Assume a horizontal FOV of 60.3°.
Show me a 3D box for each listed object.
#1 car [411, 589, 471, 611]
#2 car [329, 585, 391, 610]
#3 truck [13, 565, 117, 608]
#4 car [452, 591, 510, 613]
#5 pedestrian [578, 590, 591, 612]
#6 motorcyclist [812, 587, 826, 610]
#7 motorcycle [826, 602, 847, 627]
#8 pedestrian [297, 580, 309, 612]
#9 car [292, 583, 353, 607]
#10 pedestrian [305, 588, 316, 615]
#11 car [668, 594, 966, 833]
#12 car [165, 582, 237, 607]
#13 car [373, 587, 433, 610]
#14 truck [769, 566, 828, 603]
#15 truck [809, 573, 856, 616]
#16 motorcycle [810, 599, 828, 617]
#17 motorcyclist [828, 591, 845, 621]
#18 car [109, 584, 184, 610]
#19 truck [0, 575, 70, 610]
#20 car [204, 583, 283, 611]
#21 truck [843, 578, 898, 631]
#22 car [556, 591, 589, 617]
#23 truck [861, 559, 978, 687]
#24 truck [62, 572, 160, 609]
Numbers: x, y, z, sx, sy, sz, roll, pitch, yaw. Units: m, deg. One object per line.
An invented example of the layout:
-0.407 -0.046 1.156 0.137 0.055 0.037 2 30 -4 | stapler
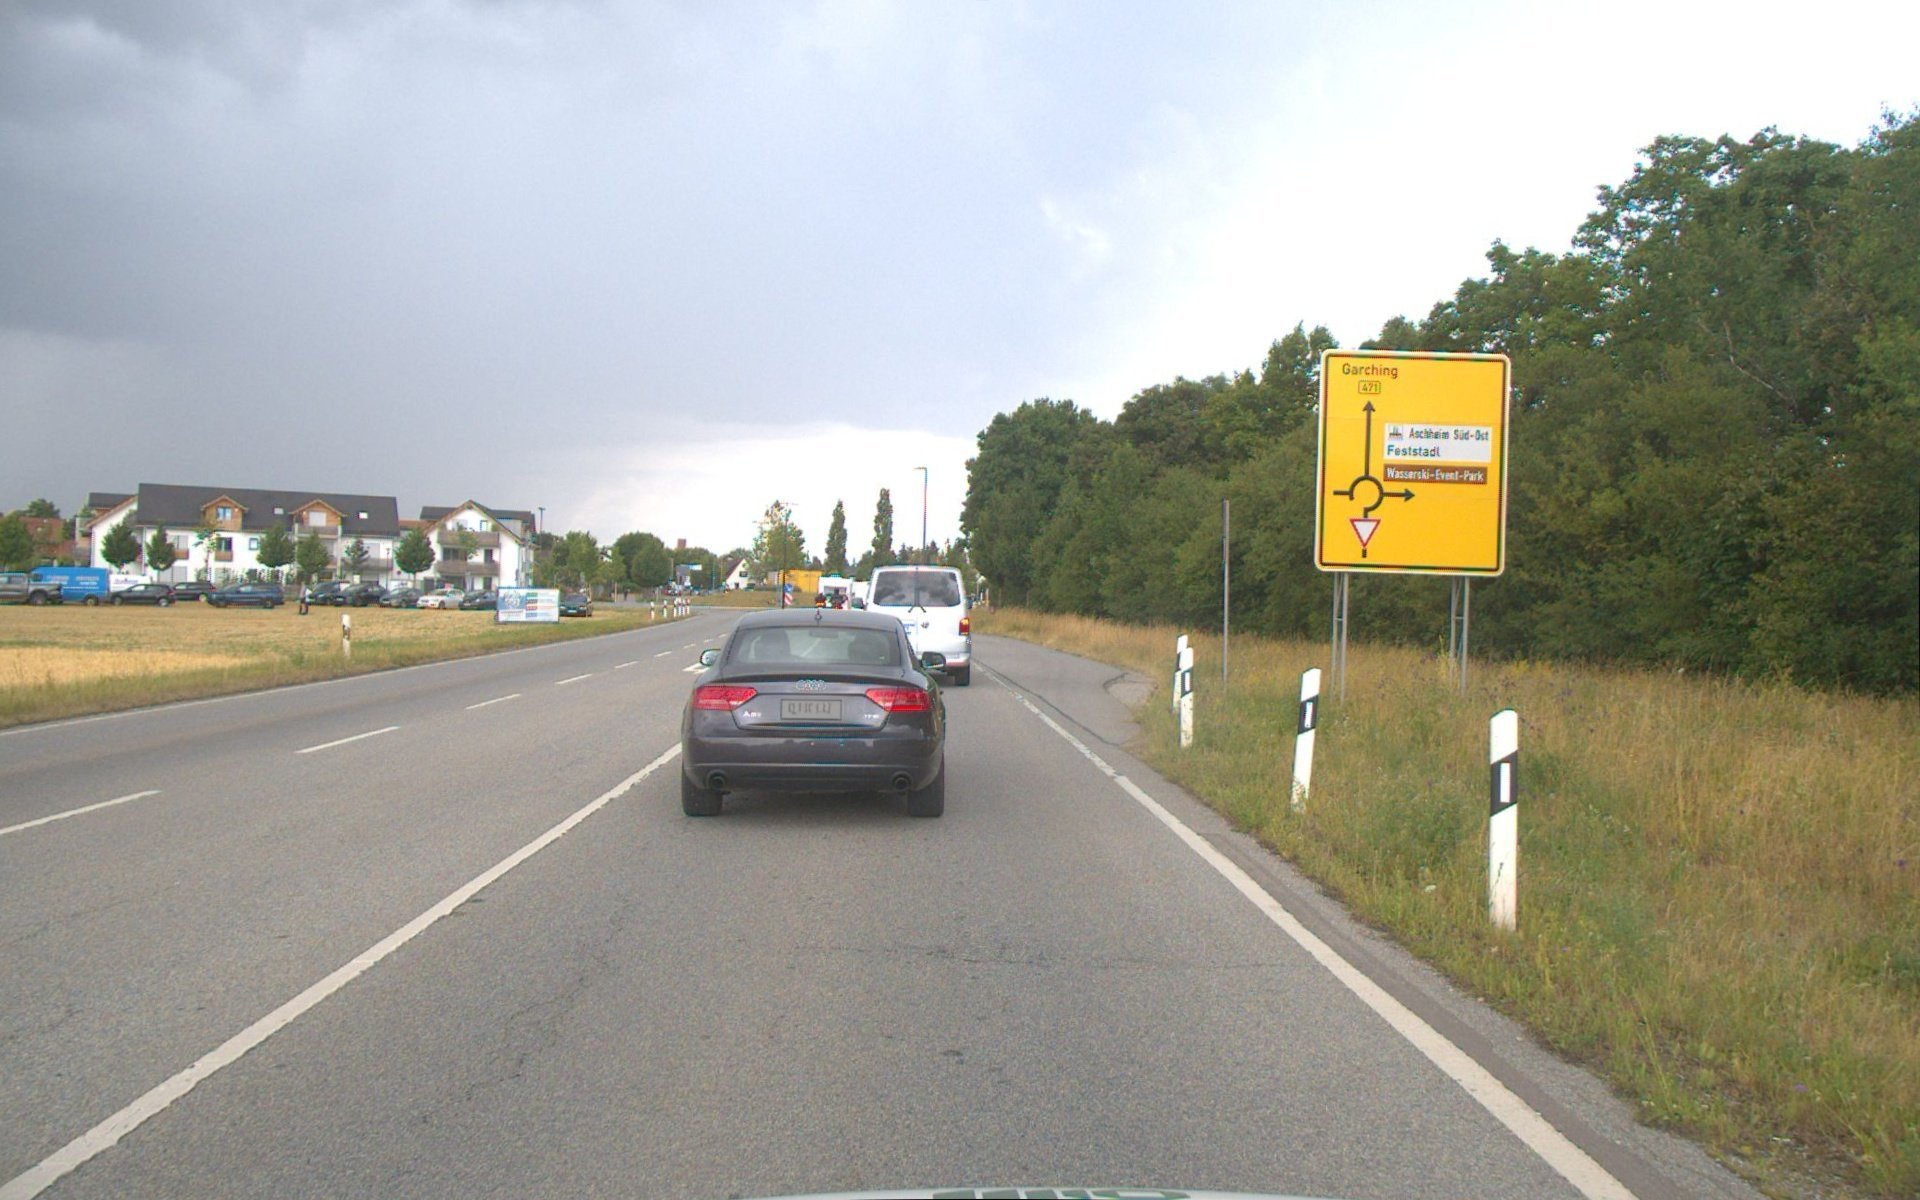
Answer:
-36.140 -0.019 115.277 1.951 1.471 4.214 1 0 15 | car
-41.983 -0.187 115.809 1.951 1.657 4.214 1 0 15 | car
-54.265 -0.796 100.375 5.381 2.489 2.374 1 0 -26 | truck
-33.284 0.121 115.040 1.951 1.471 4.214 1 0 15 | car
-28.239 0.073 124.360 0.686 1.613 0.658 1 0 14 | pedestrian
-8.583 -0.088 100.496 0.771 1.380 0.852 1 0 -9 | motorcyclist
-5.871 0.678 78.696 0.901 1.113 2.188 1 0 -2 | motorcycle
-38.123 -0.244 95.954 0.539 1.817 0.675 1 0 -15 | pedestrian
-45.265 -0.365 117.560 1.951 1.657 4.214 1 0 15 | car
-38.067 0.070 96.893 0.581 1.582 0.622 1 0 -22 | pedestrian
-1.008 0.705 12.389 1.838 1.479 4.174 1 0 -4 | car
-54.578 -0.393 119.037 4.563 1.727 1.986 1 0 -24 | car
-38.867 -0.094 115.533 1.951 1.562 4.214 1 0 15 | car
-16.957 -1.680 173.045 3.525 3.640 9.895 2 0 -21 | truck
-8.632 -0.355 111.752 2.578 2.785 5.854 2 0 -10 | truck
-8.586 0.467 100.536 0.926 1.037 2.279 1 0 -9 | motorcycle
-5.872 0.285 78.724 0.756 1.407 0.820 1 0 -2 | motorcyclist
-51.689 -0.196 105.188 4.100 1.545 1.986 1 0 -24 | car
-54.710 -0.469 96.116 5.170 1.954 2.091 1 0 -30 | truck
-46.592 -0.220 107.595 4.652 1.727 1.986 1 0 -24 | car
-3.670 0.178 68.096 2.150 2.049 5.082 1 0 -3 | truck
-24.209 0.227 103.206 1.960 1.467 3.986 1 1 -14 | car
-0.765 0.362 29.098 1.866 2.033 4.626 1 0 -3 | truck
-55.277 -0.613 107.819 5.496 2.235 2.585 1 0 -26 | truck
